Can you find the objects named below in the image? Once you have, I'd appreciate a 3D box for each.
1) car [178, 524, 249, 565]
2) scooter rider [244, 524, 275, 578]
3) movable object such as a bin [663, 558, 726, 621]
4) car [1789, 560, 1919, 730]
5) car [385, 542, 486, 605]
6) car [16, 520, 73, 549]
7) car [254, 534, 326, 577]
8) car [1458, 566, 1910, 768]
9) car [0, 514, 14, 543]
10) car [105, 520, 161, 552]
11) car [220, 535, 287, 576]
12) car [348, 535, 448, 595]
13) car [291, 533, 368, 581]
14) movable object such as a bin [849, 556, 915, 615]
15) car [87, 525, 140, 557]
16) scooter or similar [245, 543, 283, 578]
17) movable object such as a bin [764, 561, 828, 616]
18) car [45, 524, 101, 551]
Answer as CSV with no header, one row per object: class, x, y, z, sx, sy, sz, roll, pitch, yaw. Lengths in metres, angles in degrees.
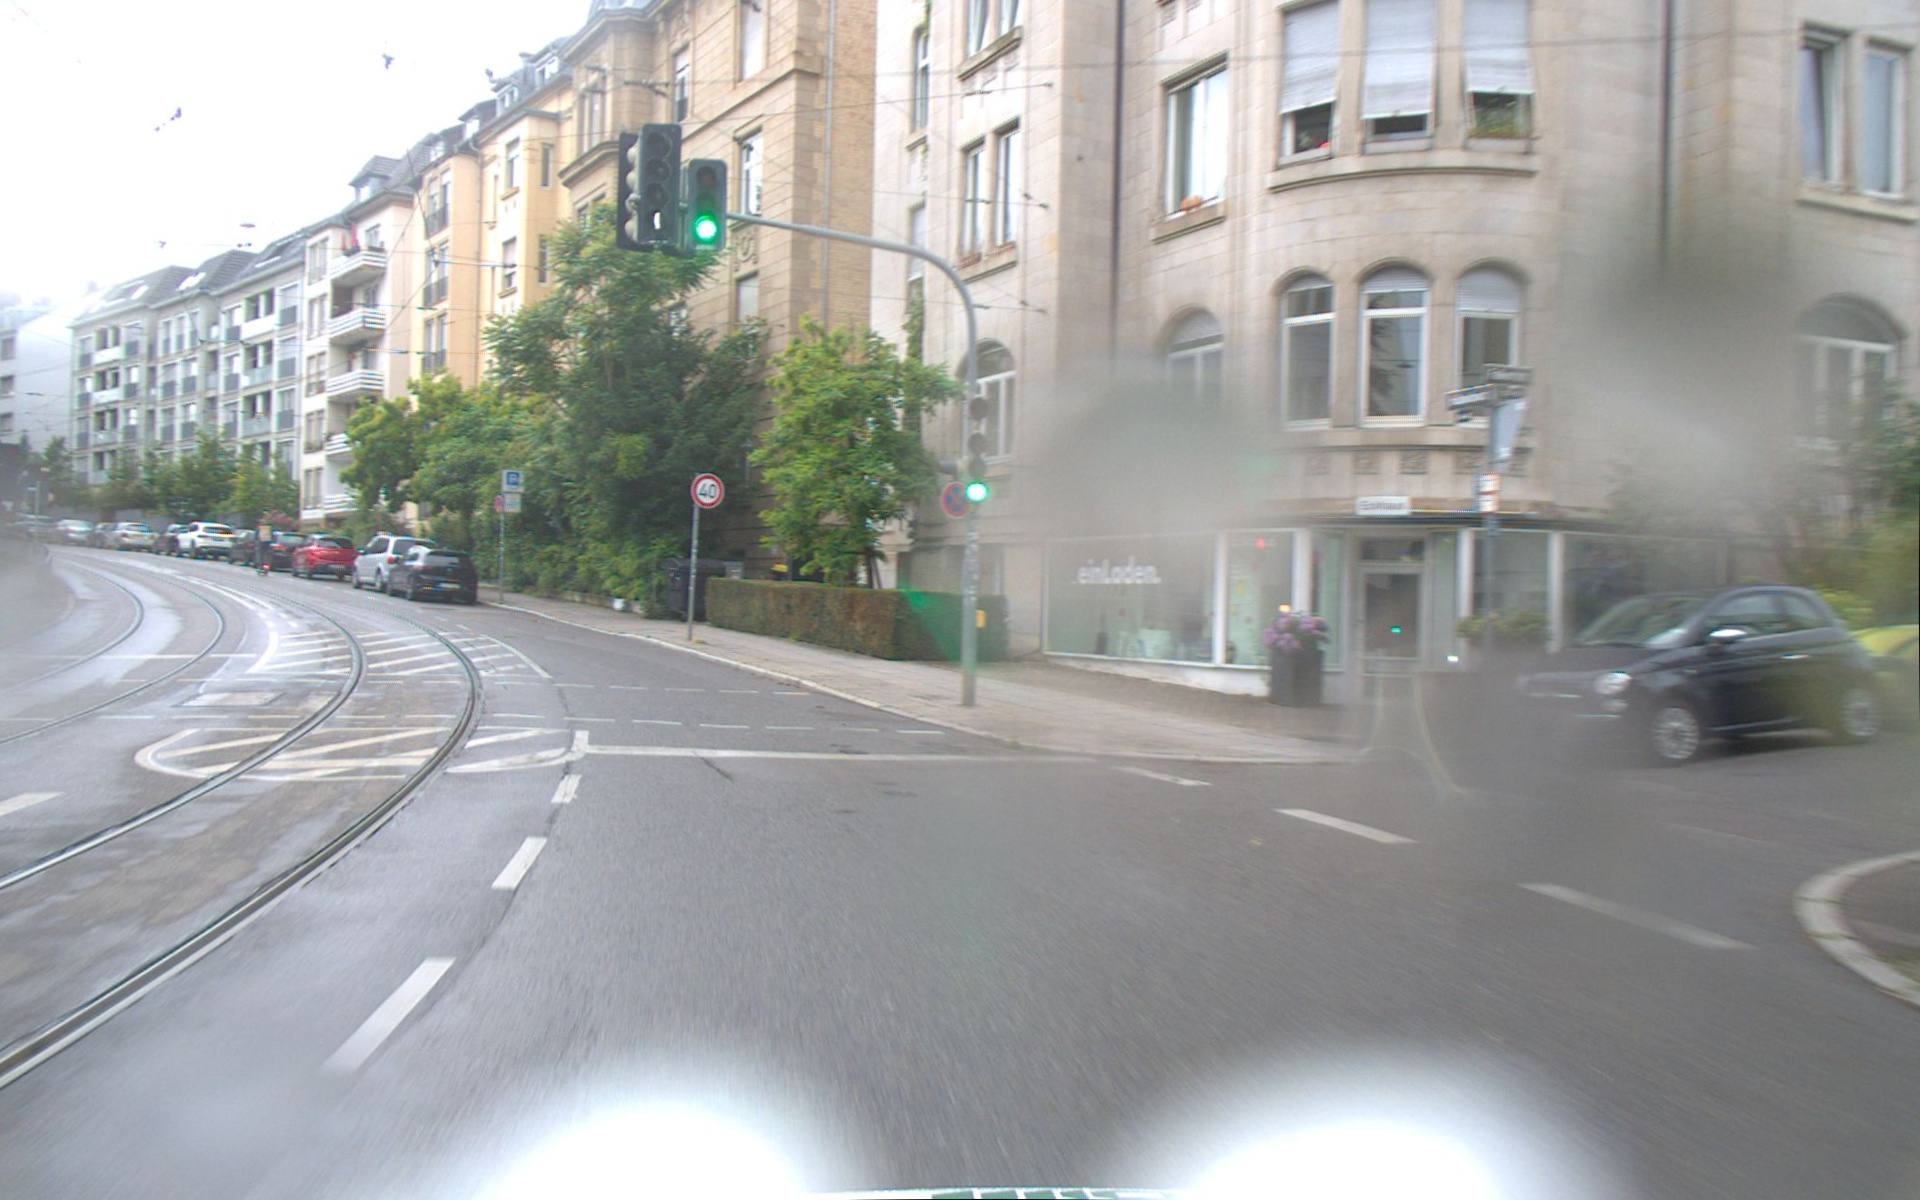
car,-33.476,-2.501,74.122,1.825,1.600,4.190,4,1,-39
scooter rider,-23.637,-1.658,55.782,0.619,1.735,0.831,5,0,-42
movable object such as a bin,-6.292,-0.259,39.192,1.216,1.427,0.812,-2,5,-37
car,10.451,0.366,16.753,3.606,1.534,1.727,-2,2,-21
car,-14.217,-0.741,44.692,1.747,1.414,3.961,3,3,-30
car,-57.058,-4.093,103.099,4.171,1.643,1.763,4,2,40
car,-25.502,-1.707,62.858,1.669,1.461,4.016,2,2,-35
car,6.555,0.517,15.011,3.606,1.534,1.727,-2,2,-21
car,-65.312,-4.892,111.265,4.179,1.818,1.759,5,1,45
car,-43.581,-3.382,87.110,1.651,1.497,4.444,3,0,-39
car,-28.955,-1.824,67.716,1.544,1.461,4.249,2,2,-37
car,-16.738,-1.066,49.159,1.751,1.631,4.238,0,2,-34
car,-21.478,-1.487,56.252,1.705,1.461,3.800,2,2,-32
movable object such as a bin,-1.987,-0.386,42.029,1.217,1.449,1.295,-1,2,-30
car,-46.376,-3.225,90.633,1.692,1.538,3.659,3,1,-41
scooter or similar,-23.522,-1.325,55.868,0.511,1.067,1.979,4,0,-42
movable object such as a bin,-4.057,-0.297,40.817,1.204,1.331,1.157,-1,2,-30
car,-51.473,-3.631,95.929,1.754,1.459,4.566,0,2,-43
